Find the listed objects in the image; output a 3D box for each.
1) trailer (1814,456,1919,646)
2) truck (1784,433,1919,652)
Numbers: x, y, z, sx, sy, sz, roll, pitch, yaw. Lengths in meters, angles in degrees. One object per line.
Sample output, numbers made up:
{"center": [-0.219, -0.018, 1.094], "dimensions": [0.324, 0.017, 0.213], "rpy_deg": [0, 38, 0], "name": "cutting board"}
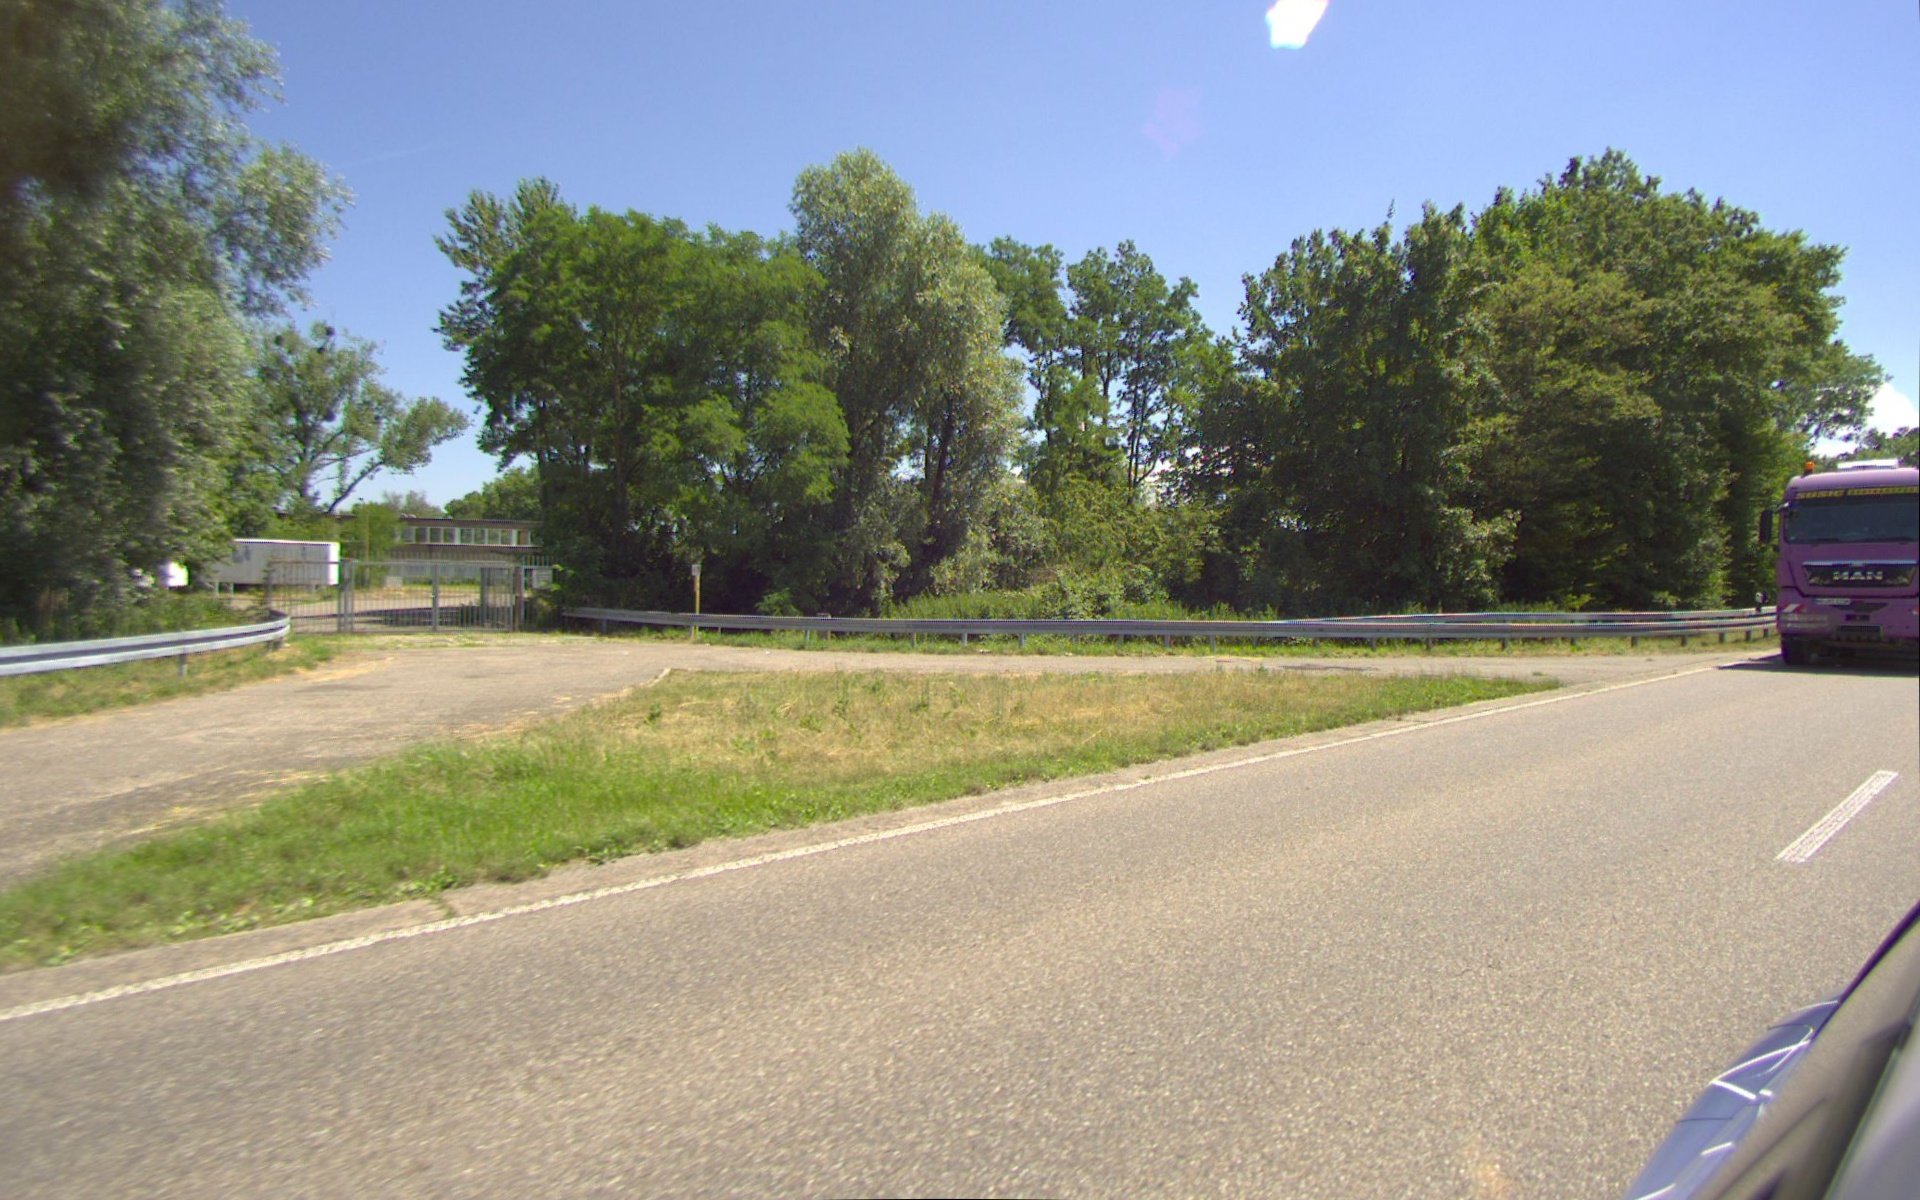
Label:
{"center": [21.541, -0.953, 22.607], "dimensions": [8.465, 3.675, 2.602], "rpy_deg": [0, 0, -42], "name": "trailer"}
{"center": [18.251, -0.988, 19.656], "dimensions": [5.836, 3.738, 2.602], "rpy_deg": [0, 0, -42], "name": "truck"}
